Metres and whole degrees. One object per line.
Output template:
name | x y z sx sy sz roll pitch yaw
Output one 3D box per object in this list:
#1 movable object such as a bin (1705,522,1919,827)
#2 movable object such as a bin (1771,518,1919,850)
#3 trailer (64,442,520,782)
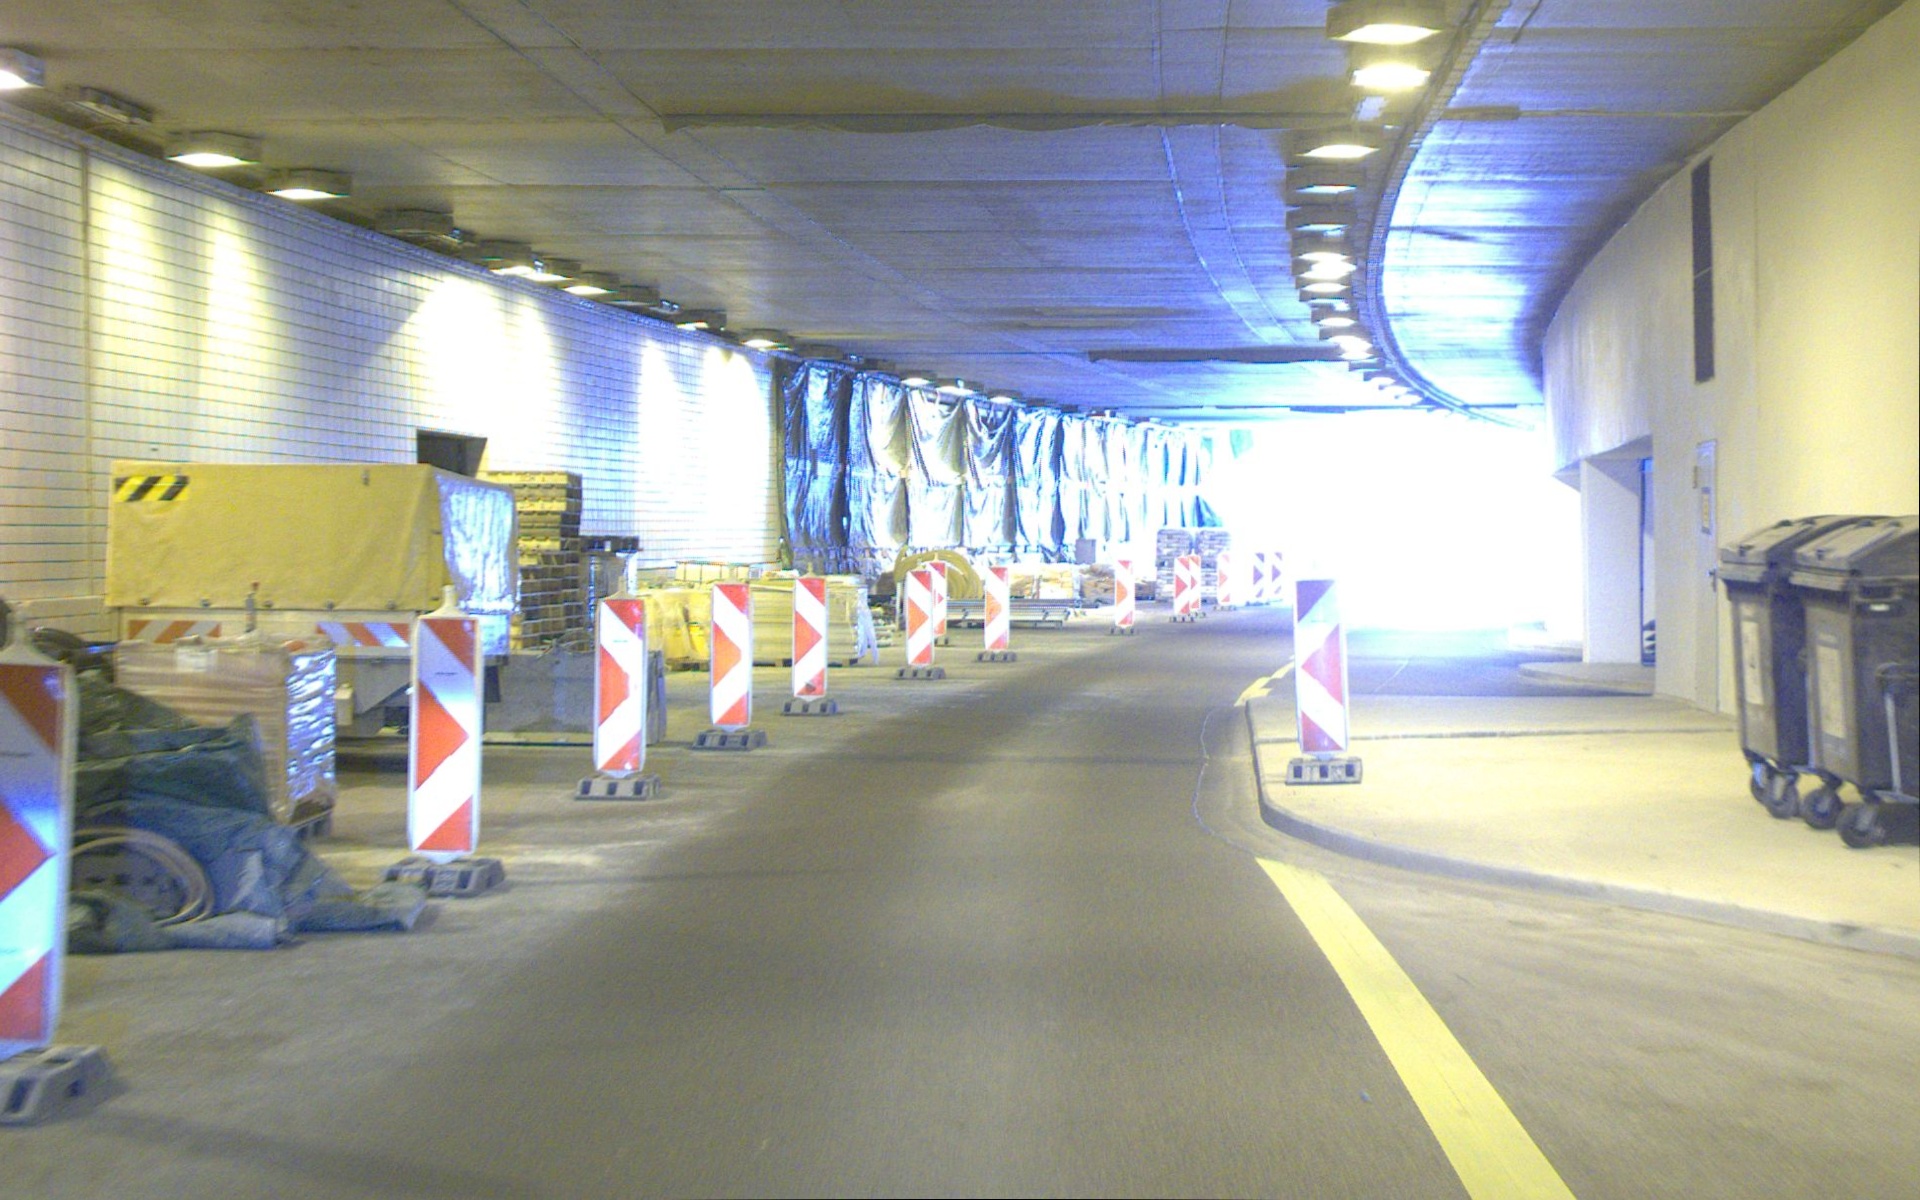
movable object such as a bin | 4.379 0.346 16.969 1.145 1.440 1.364 0 0 2
movable object such as a bin | 4.363 0.359 15.581 1.097 1.440 1.322 0 0 2
trailer | -4.188 0.053 22.135 2.208 2.007 3.466 0 0 1
